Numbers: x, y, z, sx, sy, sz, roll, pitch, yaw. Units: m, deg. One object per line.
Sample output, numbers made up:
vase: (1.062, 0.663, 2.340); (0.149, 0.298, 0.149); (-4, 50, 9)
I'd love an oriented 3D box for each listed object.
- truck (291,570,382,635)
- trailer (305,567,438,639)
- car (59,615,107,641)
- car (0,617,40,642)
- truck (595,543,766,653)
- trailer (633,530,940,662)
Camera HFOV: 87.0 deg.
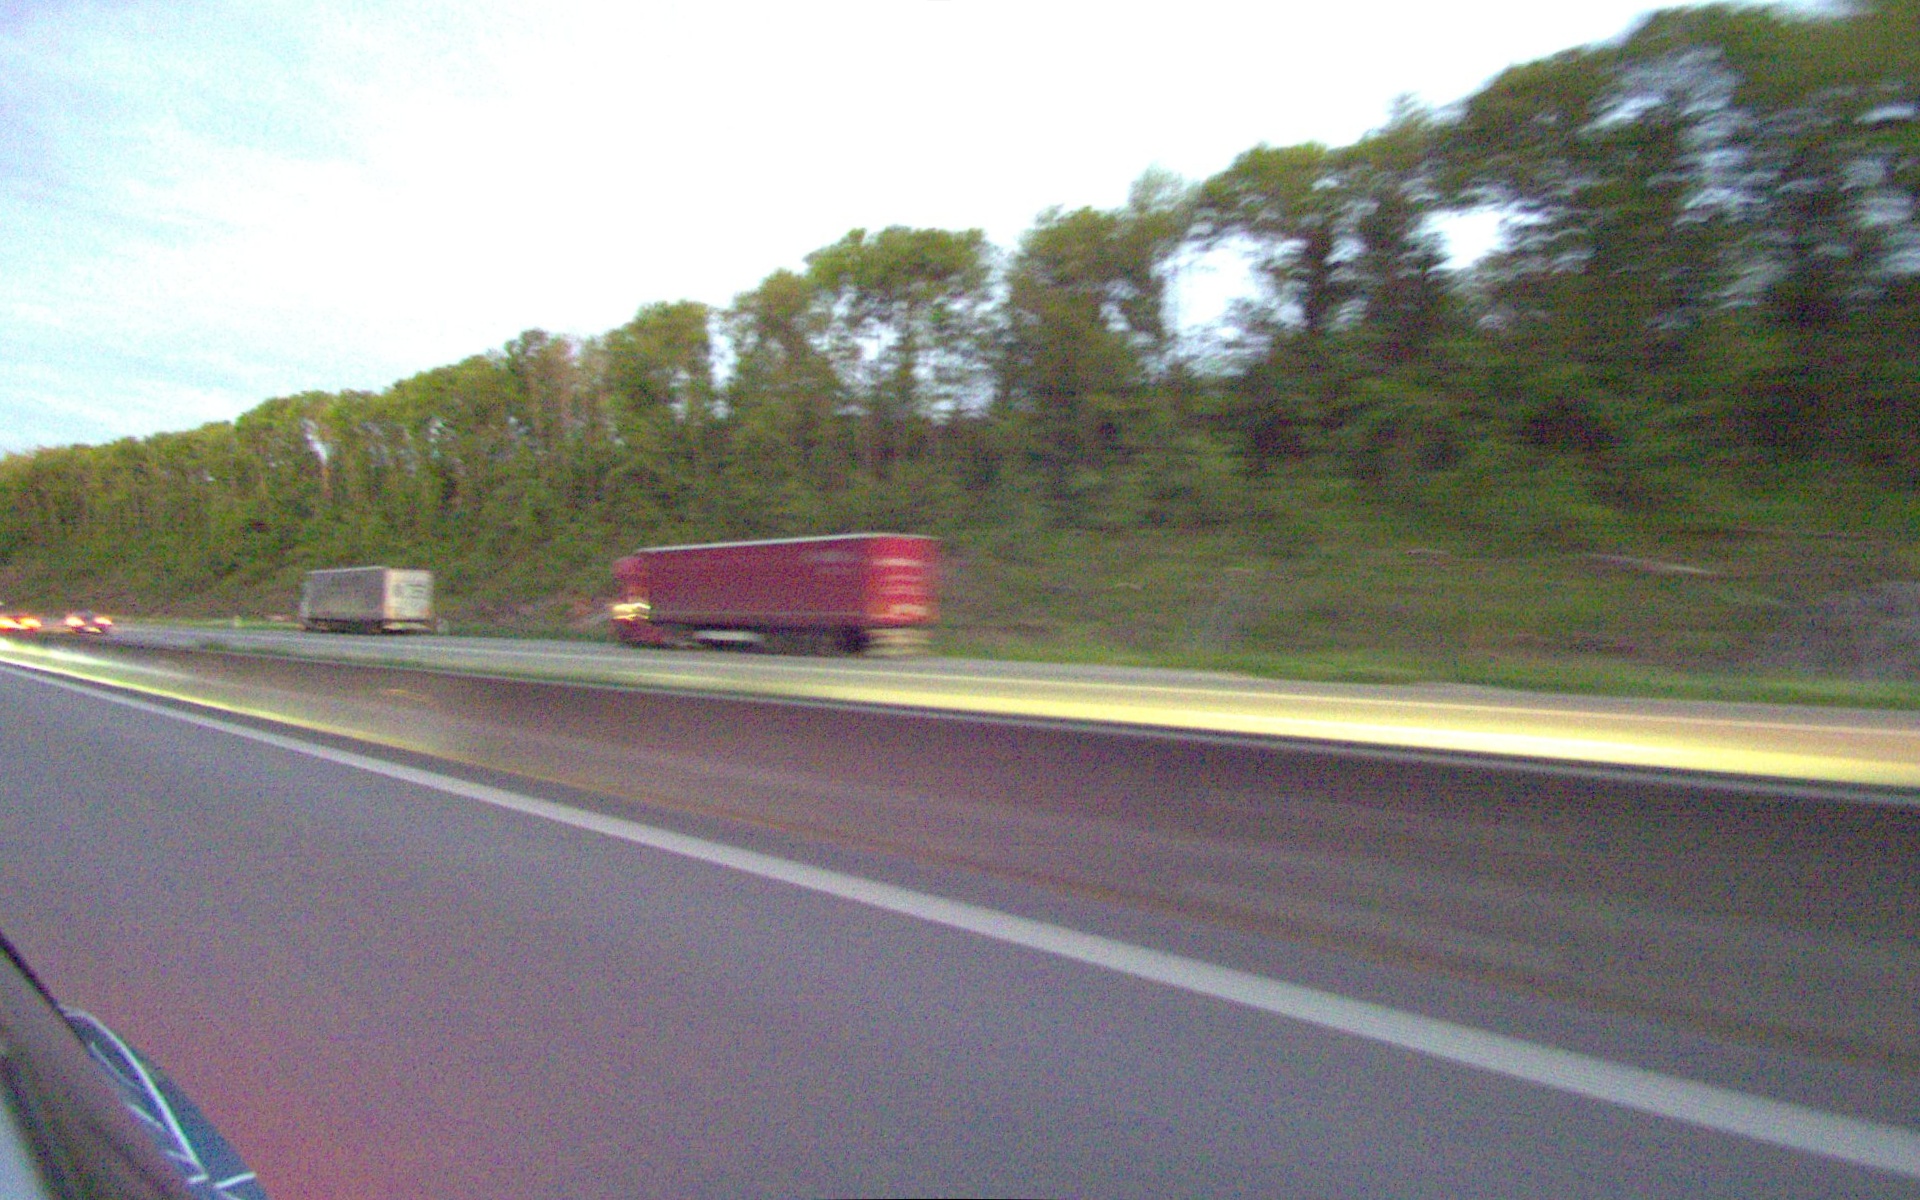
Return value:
truck: (-42.261, 0.155, 68.486); (7.687, 4.135, 3.157); (0, 0, 42)
trailer: (-37.680, 0.159, 64.395); (13.734, 4.135, 3.158); (0, 0, 41)
car: (-55.049, 1.733, 63.494); (4.411, 1.526, 1.669); (-1, -1, 41)
car: (-55.884, 1.720, 59.593); (4.639, 1.392, 1.832); (-2, -1, 39)
truck: (-11.649, -0.082, 41.777); (7.687, 4.135, 3.157); (0, 0, 42)
trailer: (-6.979, -0.129, 37.616); (14.179, 4.135, 3.157); (0, 0, 42)
